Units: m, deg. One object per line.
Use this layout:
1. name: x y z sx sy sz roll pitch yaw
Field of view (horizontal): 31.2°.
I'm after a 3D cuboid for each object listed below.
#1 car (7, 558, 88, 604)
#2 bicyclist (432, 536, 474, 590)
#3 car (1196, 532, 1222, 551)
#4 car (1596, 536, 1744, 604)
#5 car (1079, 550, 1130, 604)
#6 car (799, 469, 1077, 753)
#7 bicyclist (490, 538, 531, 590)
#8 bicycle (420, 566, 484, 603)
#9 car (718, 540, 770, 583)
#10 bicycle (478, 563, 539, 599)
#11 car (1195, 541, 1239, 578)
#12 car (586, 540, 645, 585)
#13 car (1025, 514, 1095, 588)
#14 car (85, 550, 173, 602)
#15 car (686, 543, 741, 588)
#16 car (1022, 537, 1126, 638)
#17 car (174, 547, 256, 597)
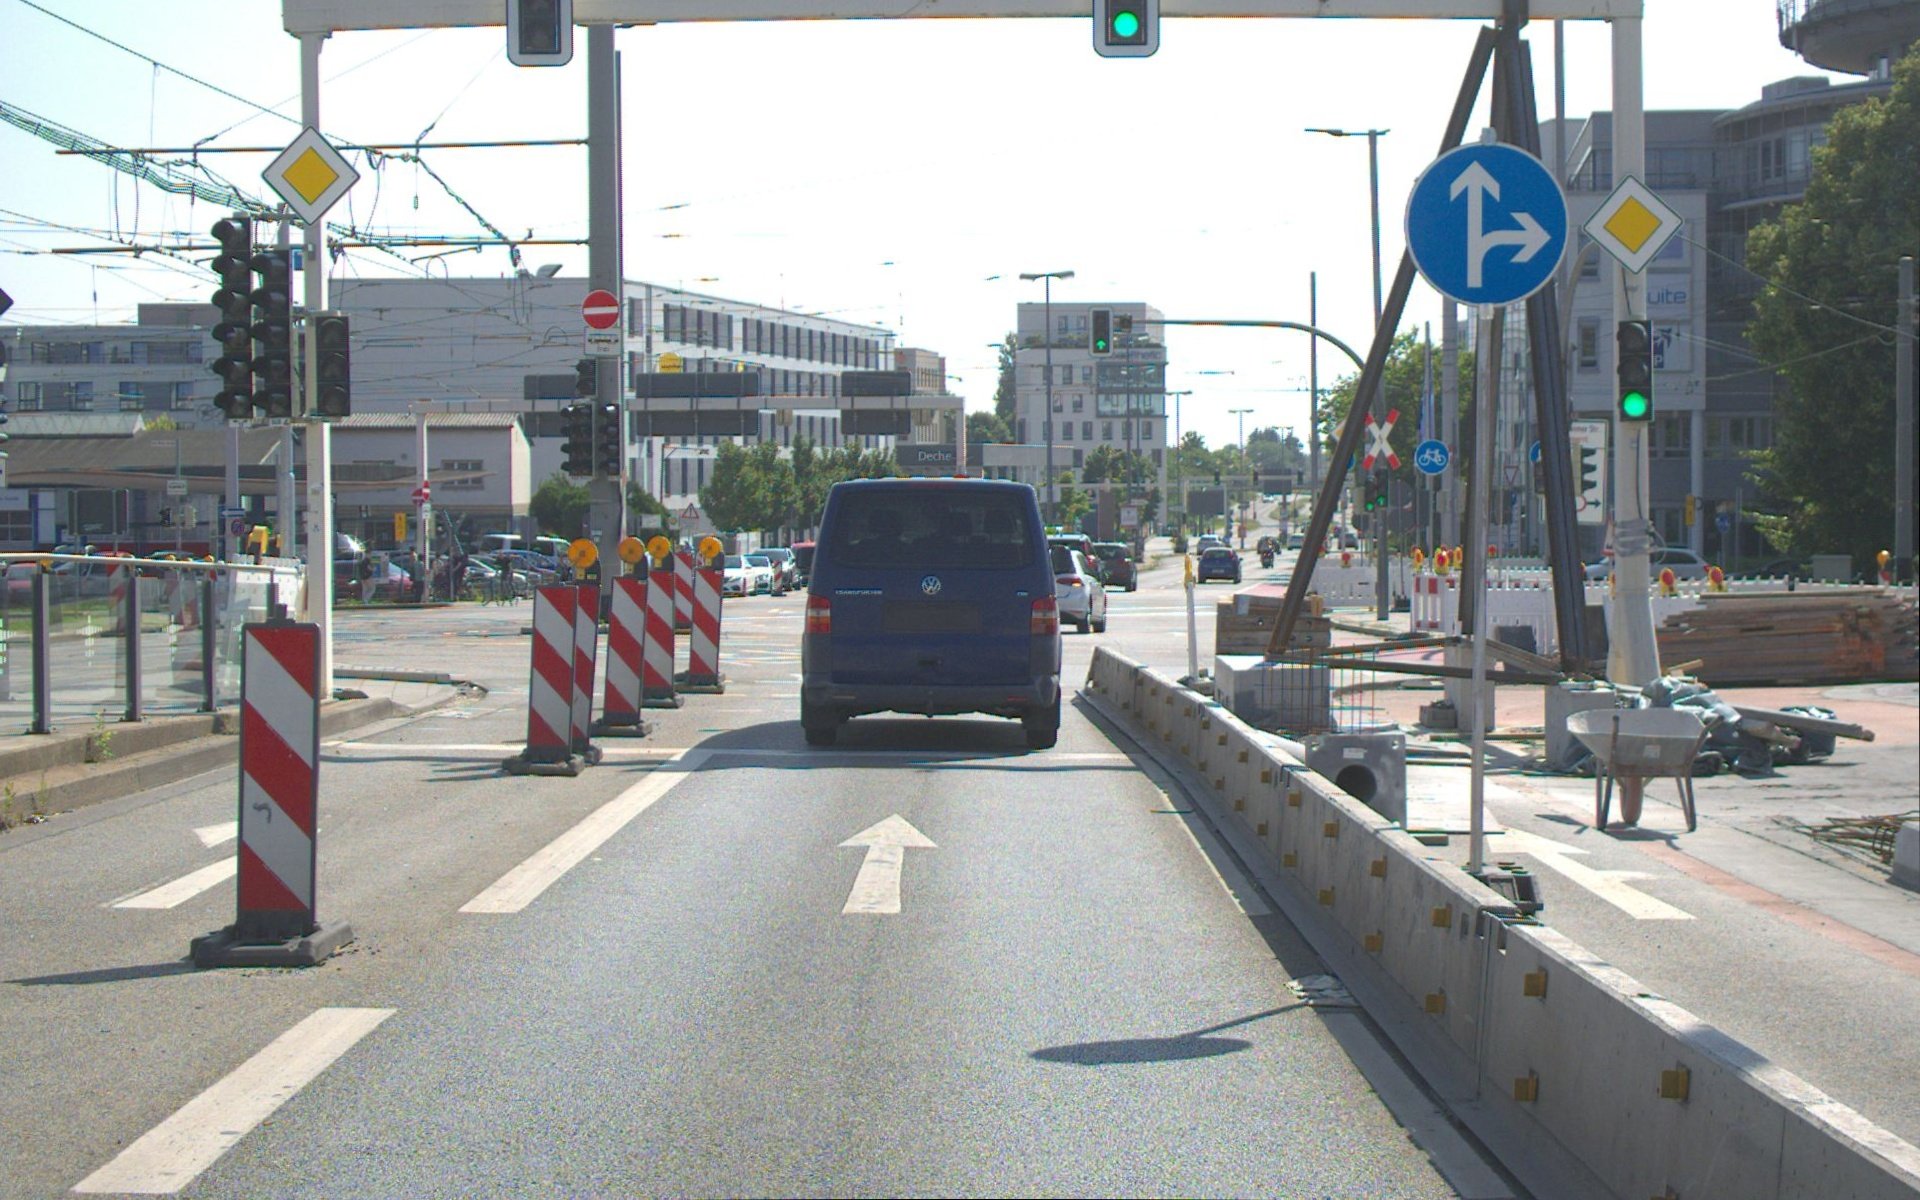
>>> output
1. car: -31.877 -0.685 120.190 1.777 1.532 4.000 0 1 0
2. bicyclist: -15.578 -1.138 105.646 0.876 1.573 0.969 4 1 14
3. car: 17.967 -4.215 248.348 1.547 1.335 3.016 1 1 -2
4. car: 20.102 -0.851 97.425 3.813 1.791 1.681 1 2 0
5. car: 4.982 -0.797 118.565 1.645 1.722 3.717 2 2 2
6. car: -0.111 0.000 25.986 1.888 1.927 4.000 2 2 1
7. bicyclist: -14.166 -1.131 108.396 0.876 1.573 0.969 4 1 14
8. bicycle: -15.610 -0.483 105.709 0.882 1.065 2.805 4 1 14
9. car: -7.802 -1.414 124.423 1.747 1.481 4.001 0 1 -2
10. bicycle: -14.226 -0.589 108.376 0.882 1.065 2.805 4 1 14
11. car: 10.699 -1.687 142.796 1.744 1.470 3.884 0 1 5
12. car: -11.873 -1.315 118.689 1.747 1.481 4.001 0 1 -2
13. car: 2.485 -1.236 85.761 1.645 1.722 4.000 2 2 2
14. car: -26.590 -0.789 110.152 1.777 1.532 4.000 -2 1 0
15. car: -8.456 -1.204 118.268 1.747 1.476 4.001 0 1 -2
16. car: 1.971 -0.245 60.381 1.684 1.600 3.617 2 2 0
17. car: -24.155 -0.926 111.517 1.777 1.532 4.000 0 1 0
